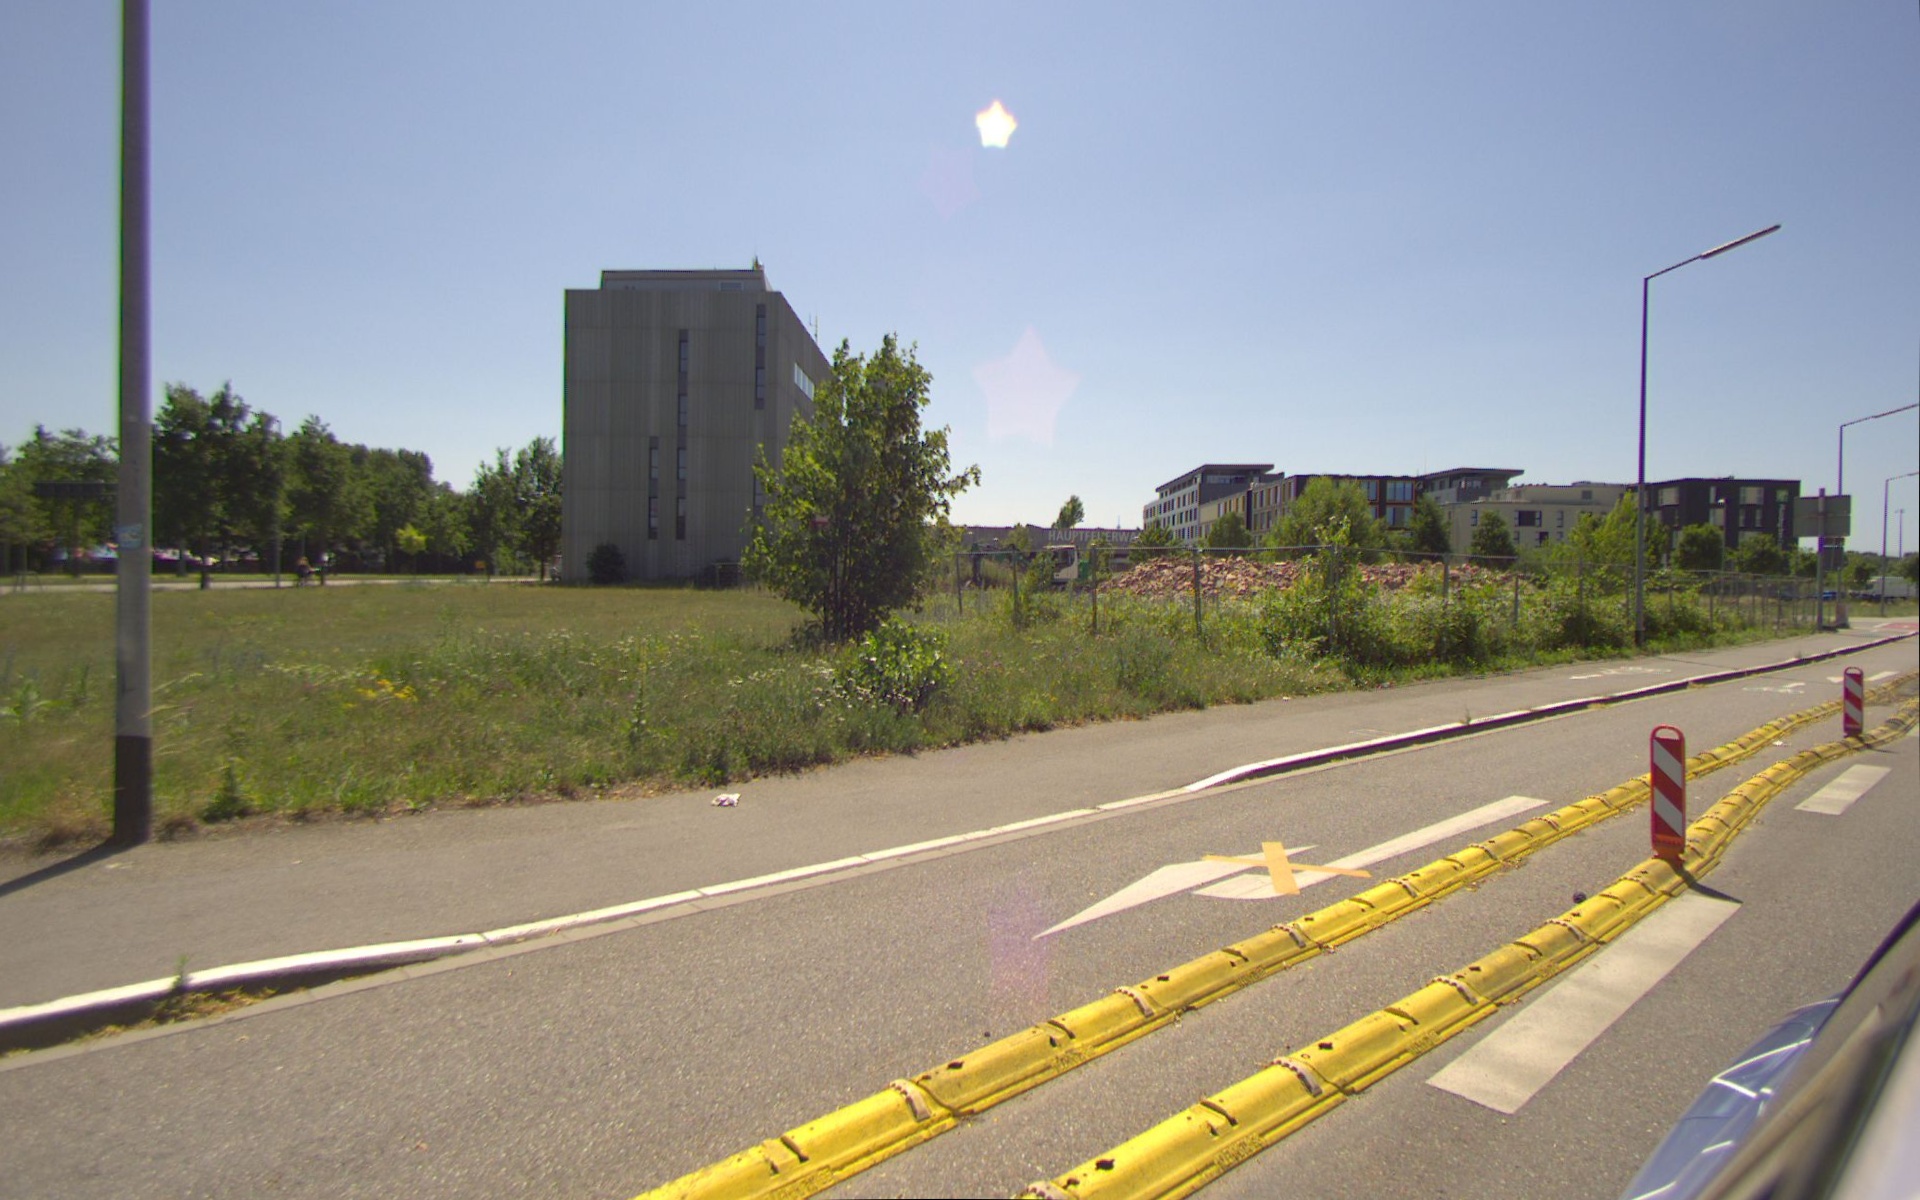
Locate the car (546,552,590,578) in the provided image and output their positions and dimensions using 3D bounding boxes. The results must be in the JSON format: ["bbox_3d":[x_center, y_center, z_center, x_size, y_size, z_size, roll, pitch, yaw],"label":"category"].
[{"bbox_3d":[-41.716,-3.716,107.841,2.220,2.622,6.394,-1,1,0],"label":"car"}]

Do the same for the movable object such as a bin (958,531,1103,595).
[{"bbox_3d":[3.790,-1.888,53.453,7.459,3.188,2.815,-1,1,-34],"label":"movable object such as a bin"}]

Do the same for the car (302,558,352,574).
[{"bbox_3d":[-59.014,-3.152,94.431,1.830,1.440,4.407,1,1,2],"label":"car"}]
